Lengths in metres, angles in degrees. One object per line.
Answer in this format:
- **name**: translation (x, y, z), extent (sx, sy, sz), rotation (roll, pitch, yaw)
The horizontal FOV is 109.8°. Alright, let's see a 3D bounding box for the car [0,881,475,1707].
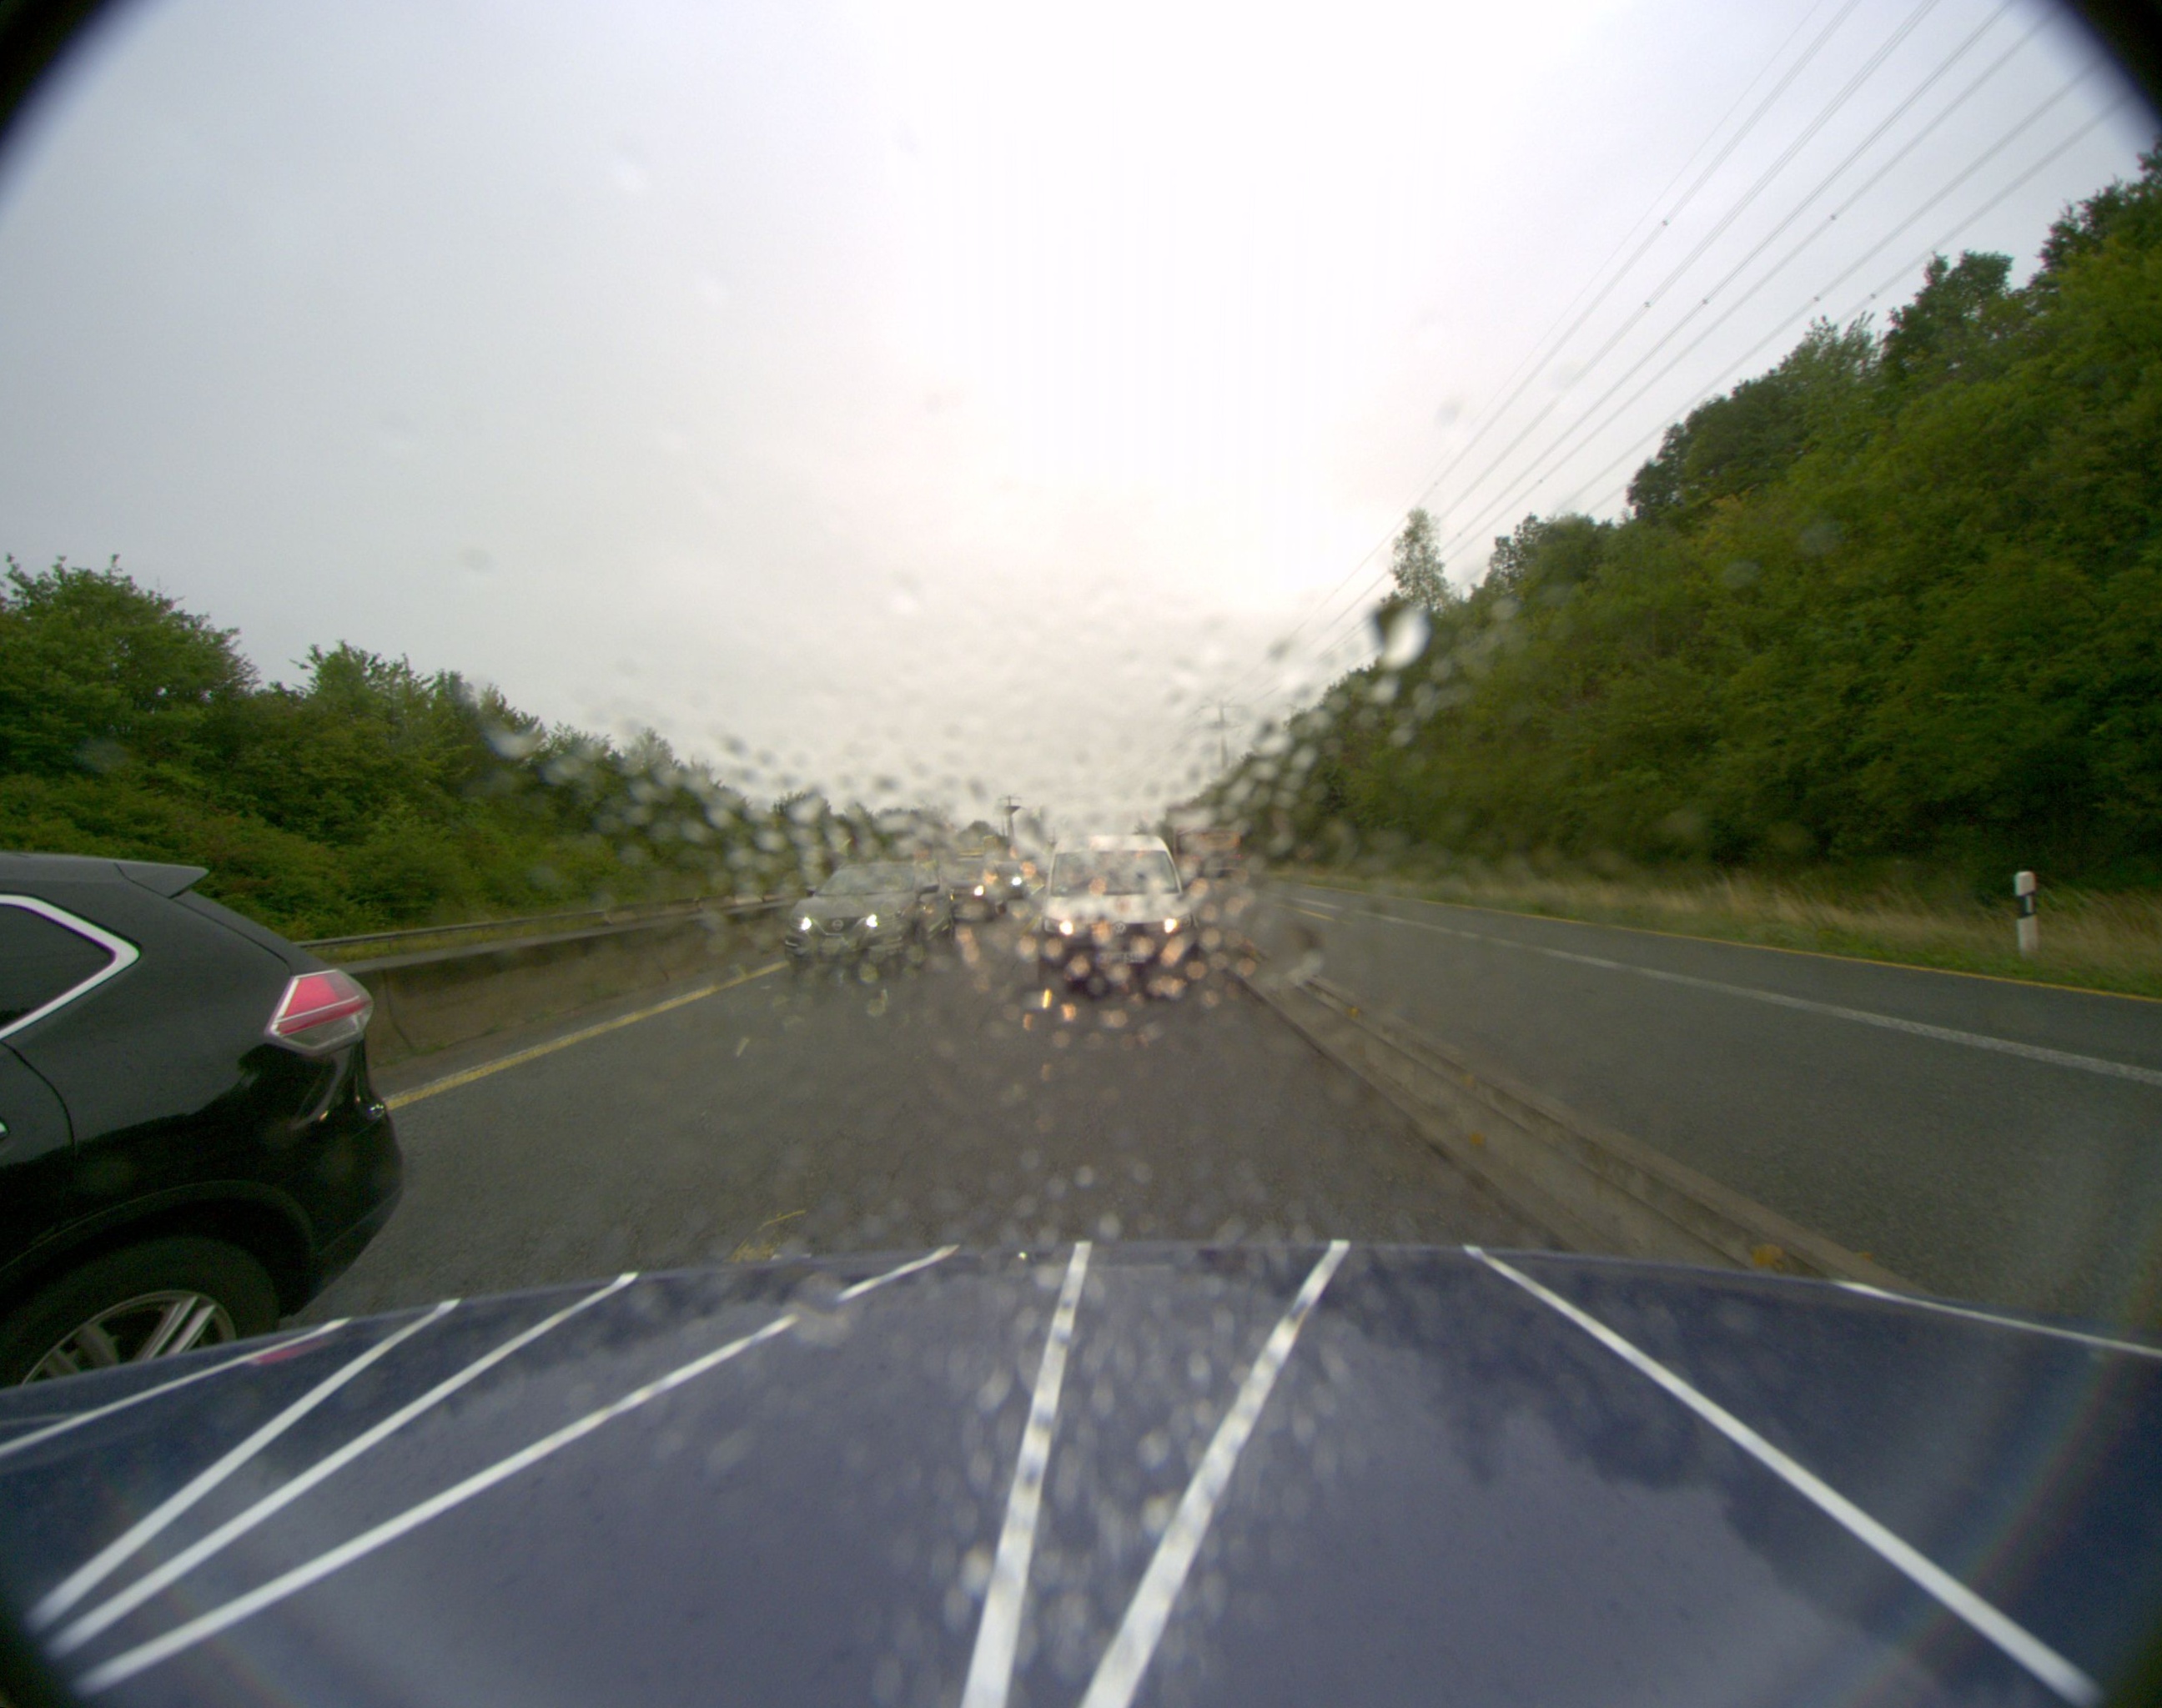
- **car**: translation (-3.107, 0.987, 0.327), extent (1.894, 1.665, 4.640), rotation (-2, 1, 0)

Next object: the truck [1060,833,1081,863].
- **truck**: translation (-1.435, -0.839, 106.373), extent (2.619, 3.869, 9.574), rotation (-2, 1, 0)

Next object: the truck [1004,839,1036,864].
- **truck**: translation (-8.773, -0.365, 110.075), extent (3.329, 3.404, 9.576), rotation (-2, 1, 2)

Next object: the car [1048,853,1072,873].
- **car**: translation (-1.677, 0.703, 62.143), extent (1.784, 1.482, 4.123), rotation (-2, 1, 0)

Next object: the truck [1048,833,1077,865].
- **truck**: translation (-1.970, -0.608, 86.479), extent (2.619, 3.404, 9.575), rotation (-2, 1, 2)

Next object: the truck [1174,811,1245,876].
- **truck**: translation (8.046, -0.672, 49.331), extent (2.688, 3.635, 12.310), rotation (-2, 1, 1)

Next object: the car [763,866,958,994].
- **car**: translation (-3.164, 1.014, 11.846), extent (1.784, 1.482, 4.123), rotation (-2, 1, 0)

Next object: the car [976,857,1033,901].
- **car**: translation (-2.964, 0.926, 30.137), extent (1.784, 1.482, 4.123), rotation (-2, 1, 0)

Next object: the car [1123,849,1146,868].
- **car**: translation (5.092, 0.413, 72.944), extent (1.940, 1.598, 4.119), rotation (-2, 1, 1)

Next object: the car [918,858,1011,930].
- **car**: translation (-2.968, 0.974, 20.169), extent (1.784, 1.589, 4.123), rotation (-2, 1, 0)

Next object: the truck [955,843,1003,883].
- **truck**: translation (-9.351, 0.737, 70.791), extent (2.619, 3.404, 9.576), rotation (-2, 1, 2)

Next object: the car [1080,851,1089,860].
- **car**: translation (0.731, 0.225, 141.868), extent (1.651, 1.559, 3.999), rotation (-2, 1, 1)

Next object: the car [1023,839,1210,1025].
- **car**: translation (0.349, 0.746, 9.849), extent (1.784, 1.775, 4.697), rotation (-2, 1, 0)

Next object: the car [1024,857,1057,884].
- **car**: translation (-2.467, 0.963, 47.334), extent (1.784, 1.482, 4.123), rotation (-2, 1, 0)
